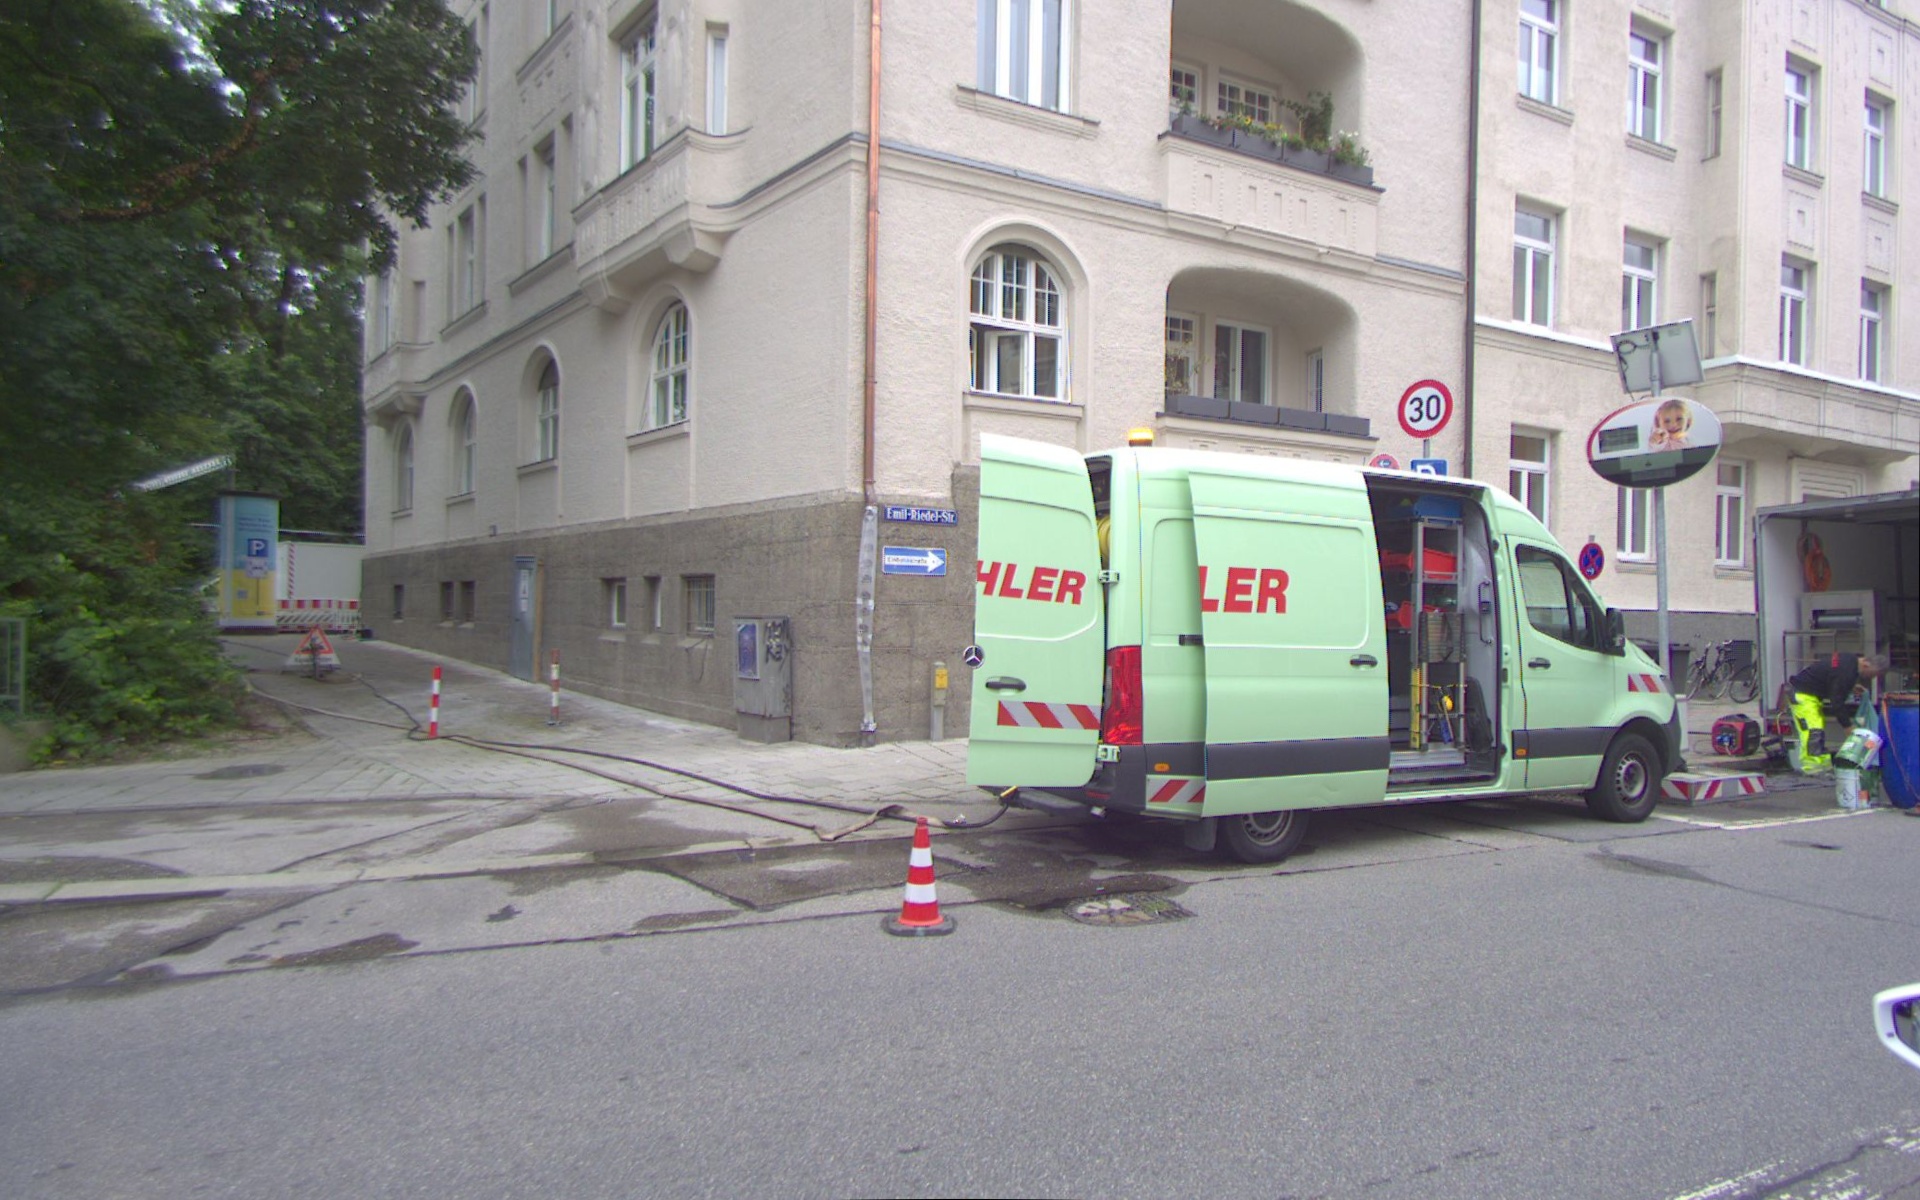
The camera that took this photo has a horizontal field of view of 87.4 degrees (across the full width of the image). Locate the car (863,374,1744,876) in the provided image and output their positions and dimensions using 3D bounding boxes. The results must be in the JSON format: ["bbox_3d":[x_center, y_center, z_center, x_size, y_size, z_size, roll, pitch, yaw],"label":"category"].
[{"bbox_3d":[2.797,0.187,7.606,6.701,2.607,2.135,1,0,-25],"label":"car"}]

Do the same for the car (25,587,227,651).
[{"bbox_3d":[-23.516,0.505,28.446,1.636,1.625,4.196,3,2,40],"label":"car"}]

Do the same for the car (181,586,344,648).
[{"bbox_3d":[-23.501,0.599,33.969,1.820,1.972,4.197,0,-2,40],"label":"car"}]

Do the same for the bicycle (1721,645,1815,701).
[{"bbox_3d":[14.465,1.314,17.978,1.561,0.927,0.395,2,2,-14],"label":"bicycle"}]

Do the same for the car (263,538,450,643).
[{"bbox_3d":[-20.002,-0.219,33.450,2.448,3.216,4.782,0,-1,40],"label":"car"}]

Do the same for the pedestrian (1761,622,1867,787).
[{"bbox_3d":[8.739,1.032,10.281,0.632,1.601,0.754,2,-1,-42],"label":"pedestrian"}]

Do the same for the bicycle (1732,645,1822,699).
[{"bbox_3d":[15.126,1.332,18.591,1.730,0.927,0.415,2,2,-21],"label":"bicycle"}]

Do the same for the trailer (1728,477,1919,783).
[{"bbox_3d":[12.805,0.335,11.647,7.491,3.007,2.798,0,-3,-23],"label":"trailer"}]

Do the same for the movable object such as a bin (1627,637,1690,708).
[{"bbox_3d":[11.568,1.191,16.653,0.546,1.143,0.671,1,-1,-22],"label":"movable object such as a bin"}]

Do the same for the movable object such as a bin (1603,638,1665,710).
[{"bbox_3d":[11.036,1.203,16.462,0.546,1.143,0.647,1,-1,-22],"label":"movable object such as a bin"}]

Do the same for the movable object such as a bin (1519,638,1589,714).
[{"bbox_3d":[9.298,1.184,15.734,0.720,1.143,0.647,1,-1,-22],"label":"movable object such as a bin"}]

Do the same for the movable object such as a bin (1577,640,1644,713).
[{"bbox_3d":[10.503,1.222,16.227,0.629,1.143,0.675,1,-1,-22],"label":"movable object such as a bin"}]

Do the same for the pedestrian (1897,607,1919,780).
[{"bbox_3d":[9.562,0.899,9.680,0.633,1.652,0.754,2,-1,-44],"label":"pedestrian"}]
